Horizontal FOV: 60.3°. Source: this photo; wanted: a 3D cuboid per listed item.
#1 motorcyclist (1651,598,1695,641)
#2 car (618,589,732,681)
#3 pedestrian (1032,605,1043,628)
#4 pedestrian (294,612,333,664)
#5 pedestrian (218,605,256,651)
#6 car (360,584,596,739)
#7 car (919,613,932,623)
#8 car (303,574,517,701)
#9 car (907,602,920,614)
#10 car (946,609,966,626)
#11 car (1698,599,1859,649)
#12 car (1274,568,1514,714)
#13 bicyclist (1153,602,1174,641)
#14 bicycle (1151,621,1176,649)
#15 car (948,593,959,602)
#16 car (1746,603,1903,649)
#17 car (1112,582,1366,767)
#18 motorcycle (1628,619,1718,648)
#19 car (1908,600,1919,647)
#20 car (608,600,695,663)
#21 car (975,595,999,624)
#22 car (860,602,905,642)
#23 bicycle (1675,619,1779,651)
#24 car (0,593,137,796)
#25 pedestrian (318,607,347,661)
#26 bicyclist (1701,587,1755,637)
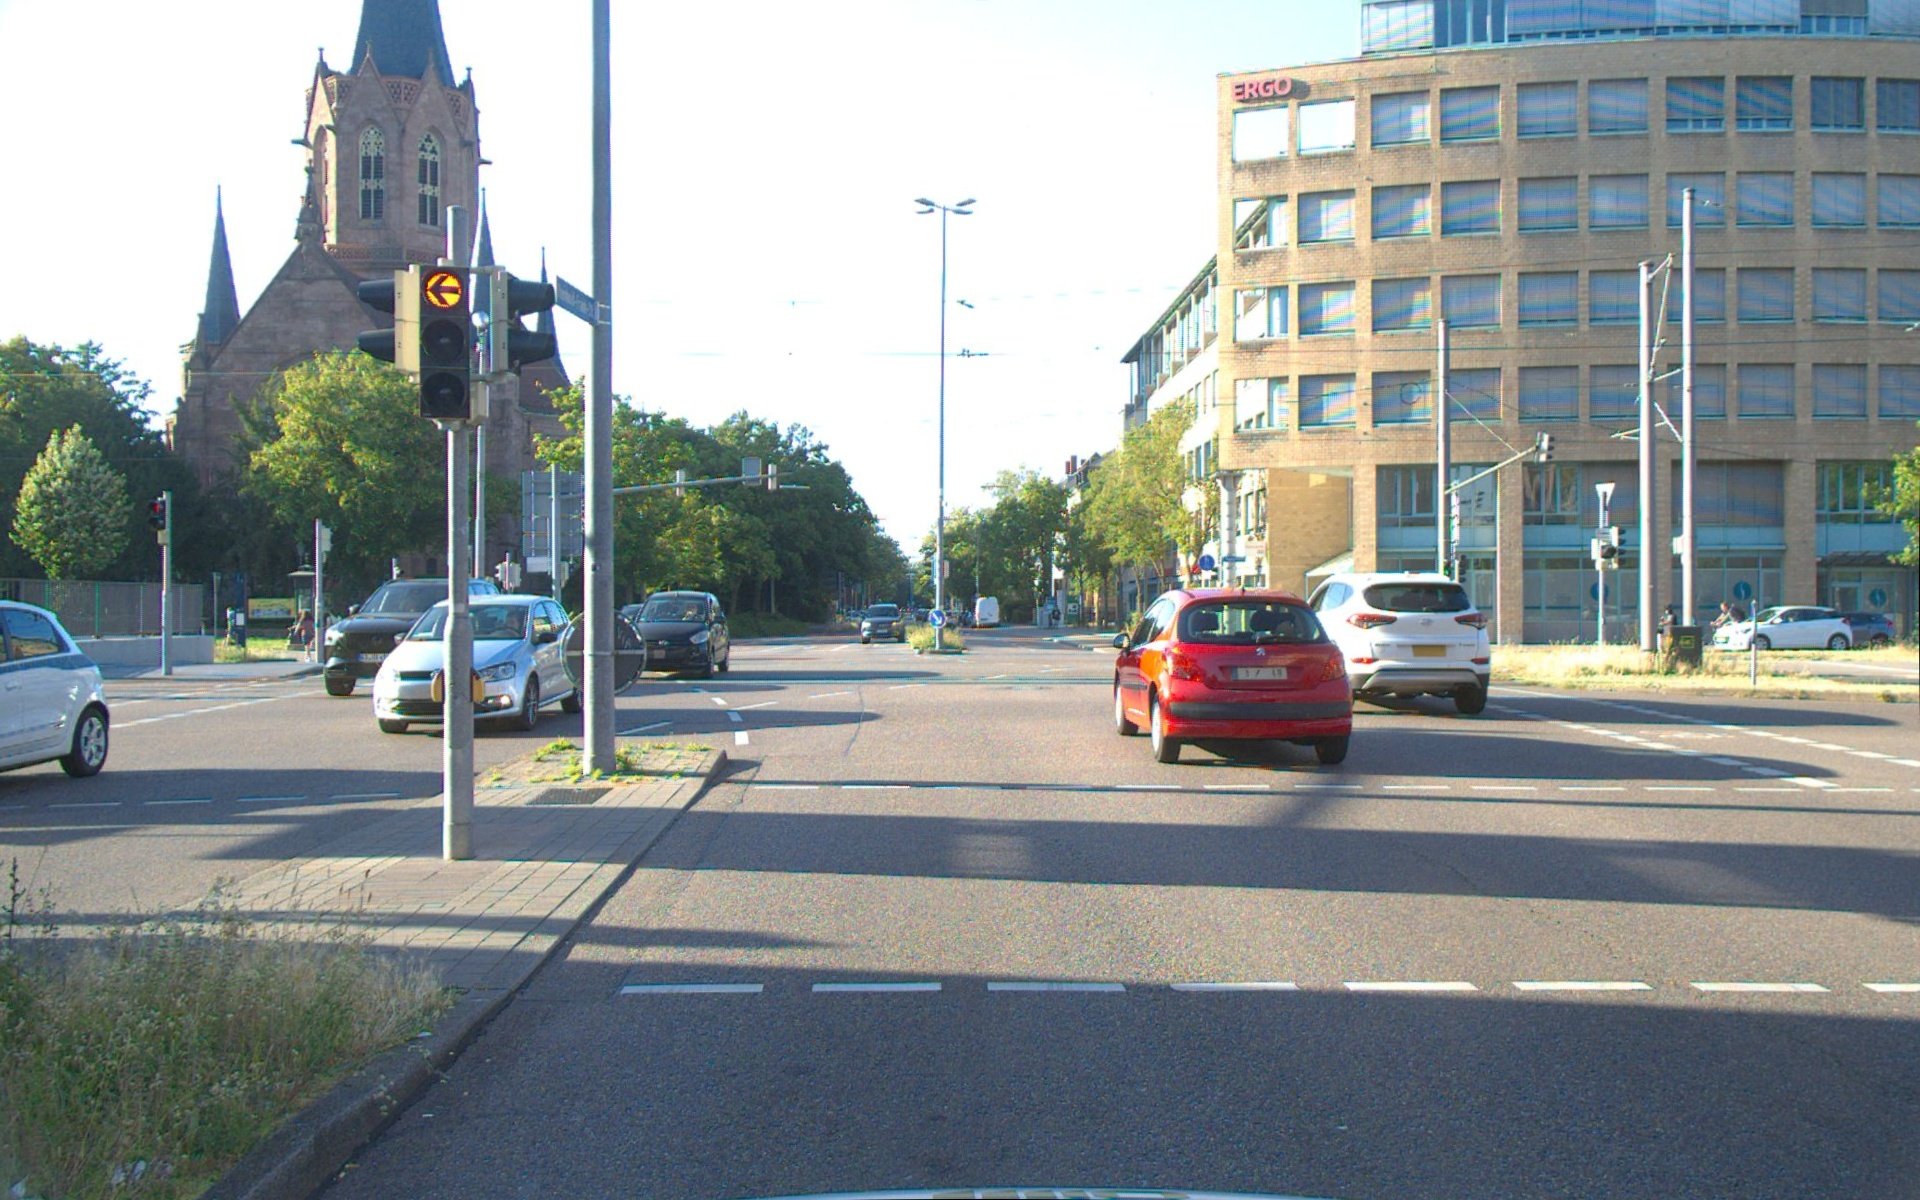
[{"bbox_3d":[24.542,0.662,56.946,1.044,1.460,1.031,0,-1,-2],"label":"motorcyclist"},{"bbox_3d":[-5.265,0.600,30.953,1.546,1.571,3.476,-2,0,-1],"label":"car"},{"bbox_3d":[6.153,1.311,130.916,0.830,1.835,0.775,0,0,-1],"label":"pedestrian"},{"bbox_3d":[-21.819,1.263,55.809,0.999,1.726,0.839,0,-1,42],"label":"pedestrian"},{"bbox_3d":[-27.763,1.061,63.532,0.992,1.726,0.845,1,-1,15],"label":"pedestrian"},{"bbox_3d":[-5.471,0.630,19.232,1.641,1.571,3.805,-2,0,-1],"label":"car"},{"bbox_3d":[-4.351,2.257,208.890,1.562,1.289,3.266,0,0,-1],"label":"car"},{"bbox_3d":[-8.460,0.515,25.898,1.779,1.740,4.785,-2,0,-1],"label":"car"},{"bbox_3d":[-7.021,1.222,250.982,1.848,1.700,3.999,1,0,-1],"label":"car"},{"bbox_3d":[-0.338,1.359,131.437,1.562,1.289,3.266,0,0,-1],"label":"car"},{"bbox_3d":[25.658,0.758,51.933,4.080,1.518,1.994,0,-1,-3],"label":"car"},{"bbox_3d":[5.387,0.480,21.106,1.877,1.635,4.268,1,0,-1],"label":"car"},{"bbox_3d":[7.212,0.764,58.676,0.580,1.393,0.929,1,-1,-1],"label":"bicyclist"},{"bbox_3d":[7.217,1.223,58.666,0.580,0.959,1.977,1,-1,-1],"label":"bicycle"},{"bbox_3d":[-1.004,-0.361,255.052,1.562,1.289,3.266,0,0,-1],"label":"car"},{"bbox_3d":[29.798,0.896,57.124,4.390,1.564,1.986,0,-1,-1],"label":"car"},{"bbox_3d":[2.467,0.618,15.507,1.636,1.488,3.999,1,0,-1],"label":"car"},{"bbox_3d":[24.529,1.144,56.939,2.663,0.981,1.031,0,-1,-2],"label":"motorcycle"},{"bbox_3d":[32.418,0.735,52.190,3.970,1.518,1.819,0,-1,-2],"label":"car"},{"bbox_3d":[-8.648,0.846,46.680,1.758,1.593,4.146,-1,1,-2],"label":"car"},{"bbox_3d":[2.358,0.814,144.549,1.953,2.483,3.999,1,0,-1],"label":"car"},{"bbox_3d":[-3.572,1.036,76.813,1.953,1.754,5.029,-1,-1,-2],"label":"car"},{"bbox_3d":[25.205,1.133,54.368,2.901,1.018,1.153,0,0,-3],"label":"bicycle"},{"bbox_3d":[-8.290,0.759,13.193,1.641,1.571,3.637,-2,0,-1],"label":"car"},{"bbox_3d":[-20.305,1.108,53.524,0.700,1.726,0.887,1,-1,-30],"label":"pedestrian"},{"bbox_3d":[25.247,0.396,54.366,1.198,1.599,1.153,0,0,-3],"label":"bicyclist"}]
